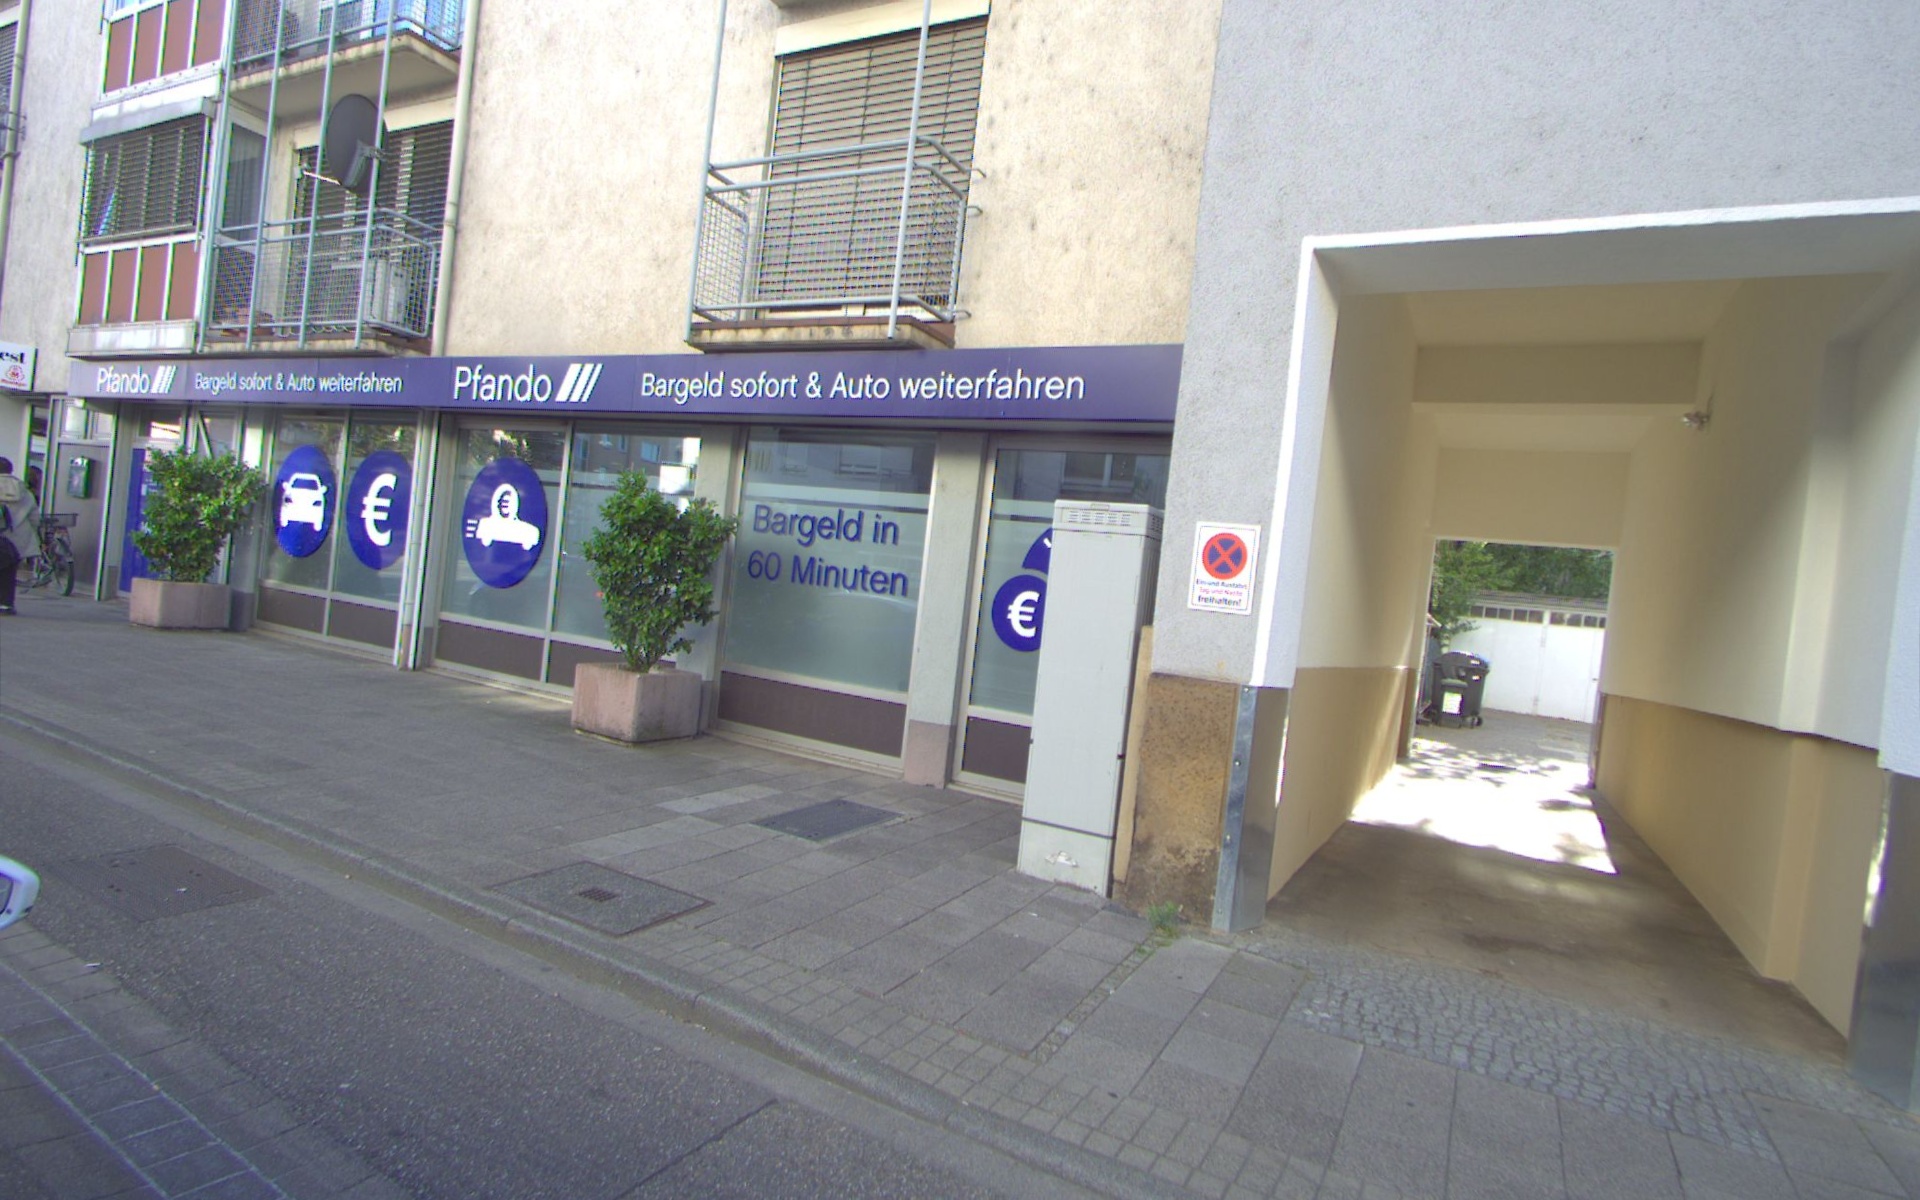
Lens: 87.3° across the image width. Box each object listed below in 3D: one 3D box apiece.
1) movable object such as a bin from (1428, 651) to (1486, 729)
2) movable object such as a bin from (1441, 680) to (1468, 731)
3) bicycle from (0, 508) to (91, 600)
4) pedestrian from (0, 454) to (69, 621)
[{"bbox_3d":[9.947,1.787,20.129,0.873,1.411,0.758,7,2,28],"label":"movable object such as a bin"},{"bbox_3d":[9.560,2.025,19.432,0.365,0.920,0.420,7,2,28],"label":"movable object such as a bin"},{"bbox_3d":[-11.691,-0.600,12.687,1.678,1.010,0.543,6,-1,32],"label":"bicycle"},{"bbox_3d":[-9.780,-0.657,10.173,0.738,1.611,0.827,6,-1,31],"label":"pedestrian"}]
